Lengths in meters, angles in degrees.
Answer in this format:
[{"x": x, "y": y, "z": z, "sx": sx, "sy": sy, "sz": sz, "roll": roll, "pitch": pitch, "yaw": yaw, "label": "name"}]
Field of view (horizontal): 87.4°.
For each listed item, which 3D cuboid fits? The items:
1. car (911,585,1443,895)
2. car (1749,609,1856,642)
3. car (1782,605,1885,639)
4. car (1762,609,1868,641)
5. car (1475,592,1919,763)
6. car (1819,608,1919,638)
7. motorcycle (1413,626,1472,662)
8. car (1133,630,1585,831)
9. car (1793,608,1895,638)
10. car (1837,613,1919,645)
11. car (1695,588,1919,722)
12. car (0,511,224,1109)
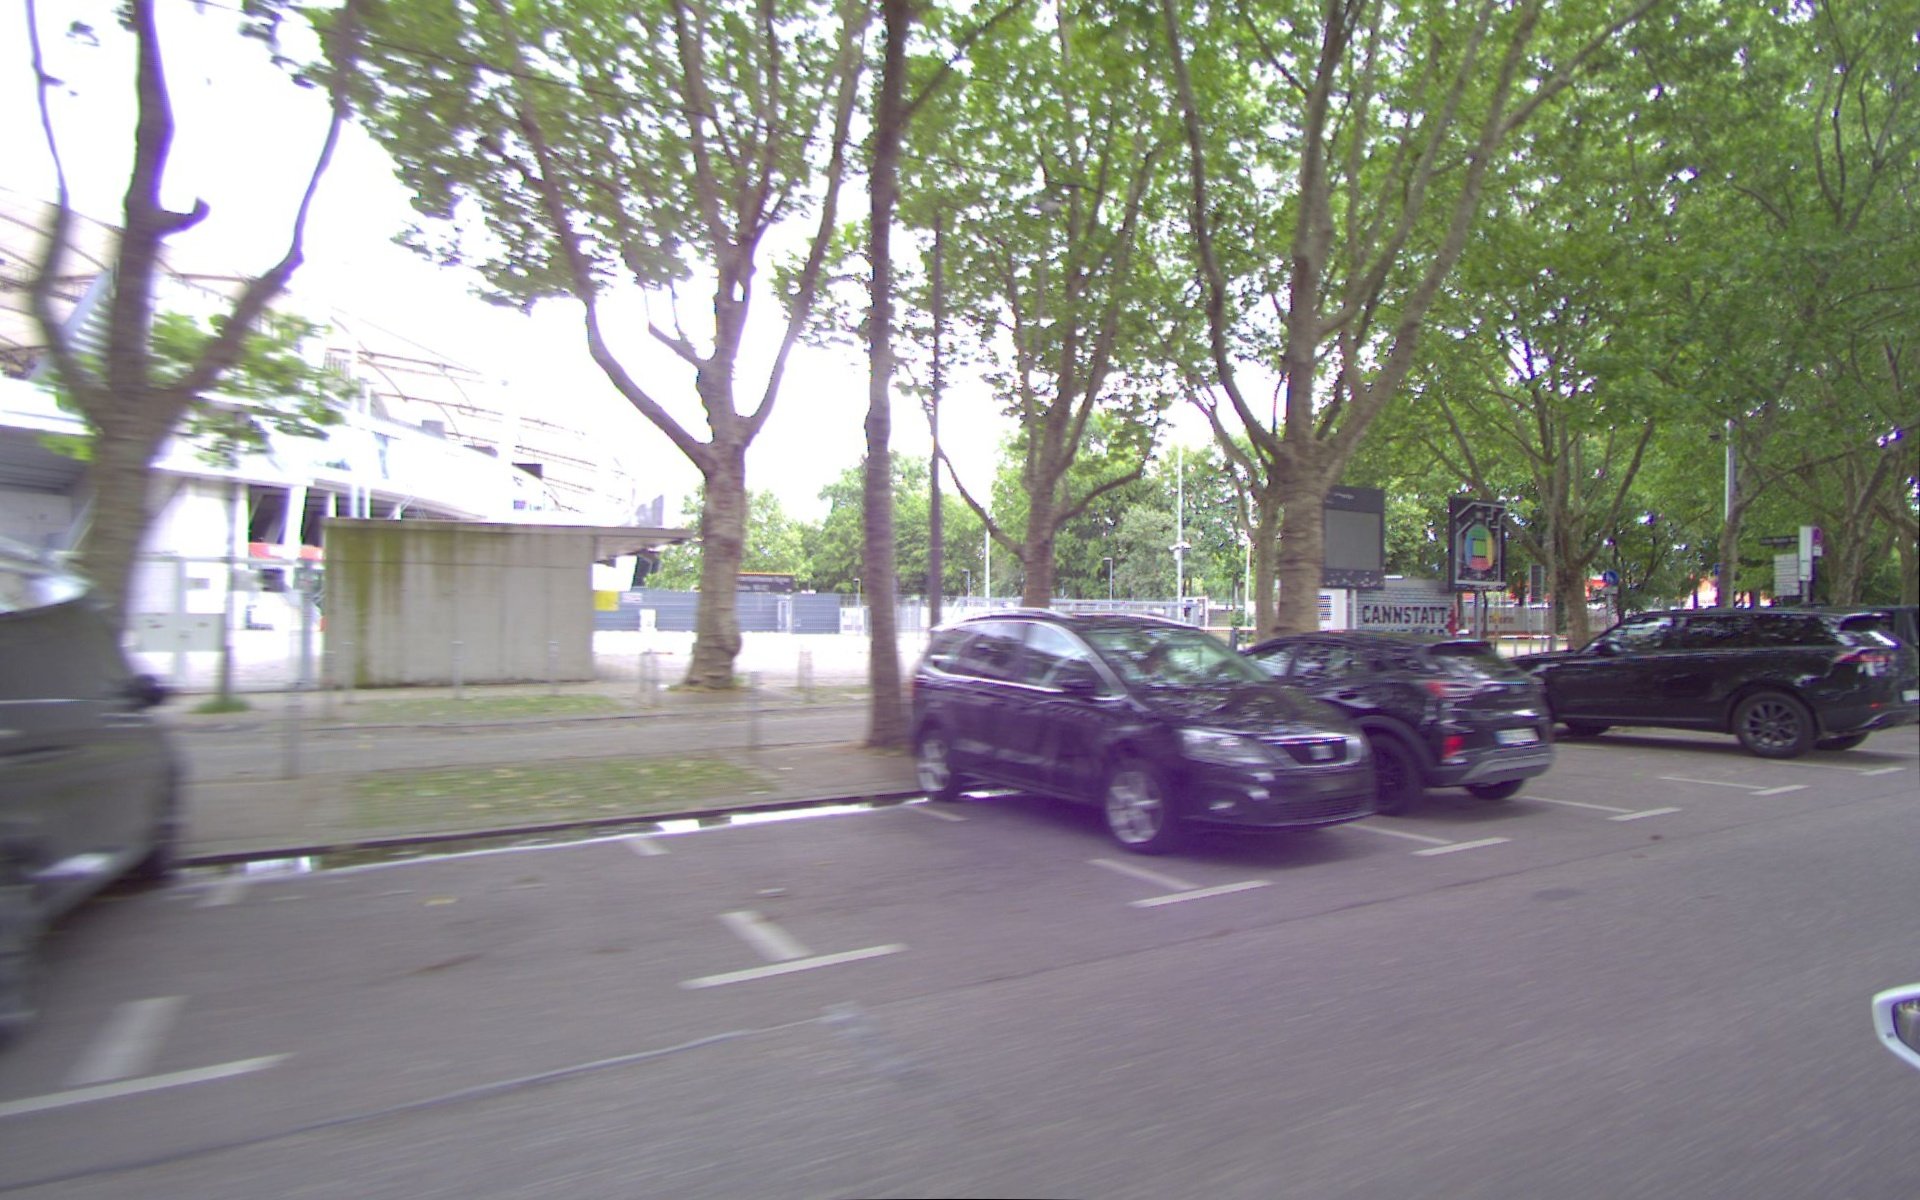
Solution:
[{"x": 1.372, "y": 0.920, "z": 8.332, "sx": 1.775, "sy": 1.805, "sz": 4.562, "roll": 0, "pitch": -2, "yaw": -28, "label": "car"}, {"x": 64.453, "y": 1.918, "z": 76.995, "sx": 1.976, "sy": 2.282, "sz": 5.973, "roll": 1, "pitch": 0, "yaw": -30, "label": "car"}, {"x": 70.742, "y": 1.727, "z": 81.473, "sx": 1.976, "sy": 2.560, "sz": 5.973, "roll": 1, "pitch": 0, "yaw": -30, "label": "car"}, {"x": 66.447, "y": 1.906, "z": 78.192, "sx": 1.976, "sy": 2.282, "sz": 5.973, "roll": 1, "pitch": 0, "yaw": -30, "label": "car"}, {"x": 9.636, "y": 0.986, "z": 13.437, "sx": 1.783, "sy": 1.844, "sz": 4.636, "roll": -1, "pitch": -3, "yaw": -28, "label": "car"}, {"x": 76.995, "y": 1.930, "z": 85.172, "sx": 1.976, "sy": 2.361, "sz": 5.973, "roll": 1, "pitch": 0, "yaw": -30, "label": "car"}, {"x": 15.918, "y": 1.429, "z": 33.148, "sx": 0.730, "sy": 1.157, "sz": 1.650, "roll": 1, "pitch": -2, "yaw": -26, "label": "motorcycle"}, {"x": 3.549, "y": 1.093, "z": 9.710, "sx": 1.731, "sy": 1.513, "sz": 3.884, "roll": 1, "pitch": -3, "yaw": -27, "label": "car"}, {"x": 72.722, "y": 1.837, "z": 82.726, "sx": 1.976, "sy": 2.270, "sz": 5.973, "roll": 1, "pitch": 0, "yaw": -30, "label": "car"}, {"x": 80.826, "y": 2.502, "z": 87.746, "sx": 1.976, "sy": 2.560, "sz": 5.973, "roll": 1, "pitch": 0, "yaw": -30, "label": "car"}, {"x": 16.100, "y": 0.912, "z": 17.138, "sx": 1.918, "sy": 2.156, "sz": 5.409, "roll": 0, "pitch": -3, "yaw": -31, "label": "car"}, {"x": -4.998, "y": 0.746, "z": 4.428, "sx": 2.181, "sy": 1.949, "sz": 4.885, "roll": 1, "pitch": -2, "yaw": -29, "label": "car"}]
